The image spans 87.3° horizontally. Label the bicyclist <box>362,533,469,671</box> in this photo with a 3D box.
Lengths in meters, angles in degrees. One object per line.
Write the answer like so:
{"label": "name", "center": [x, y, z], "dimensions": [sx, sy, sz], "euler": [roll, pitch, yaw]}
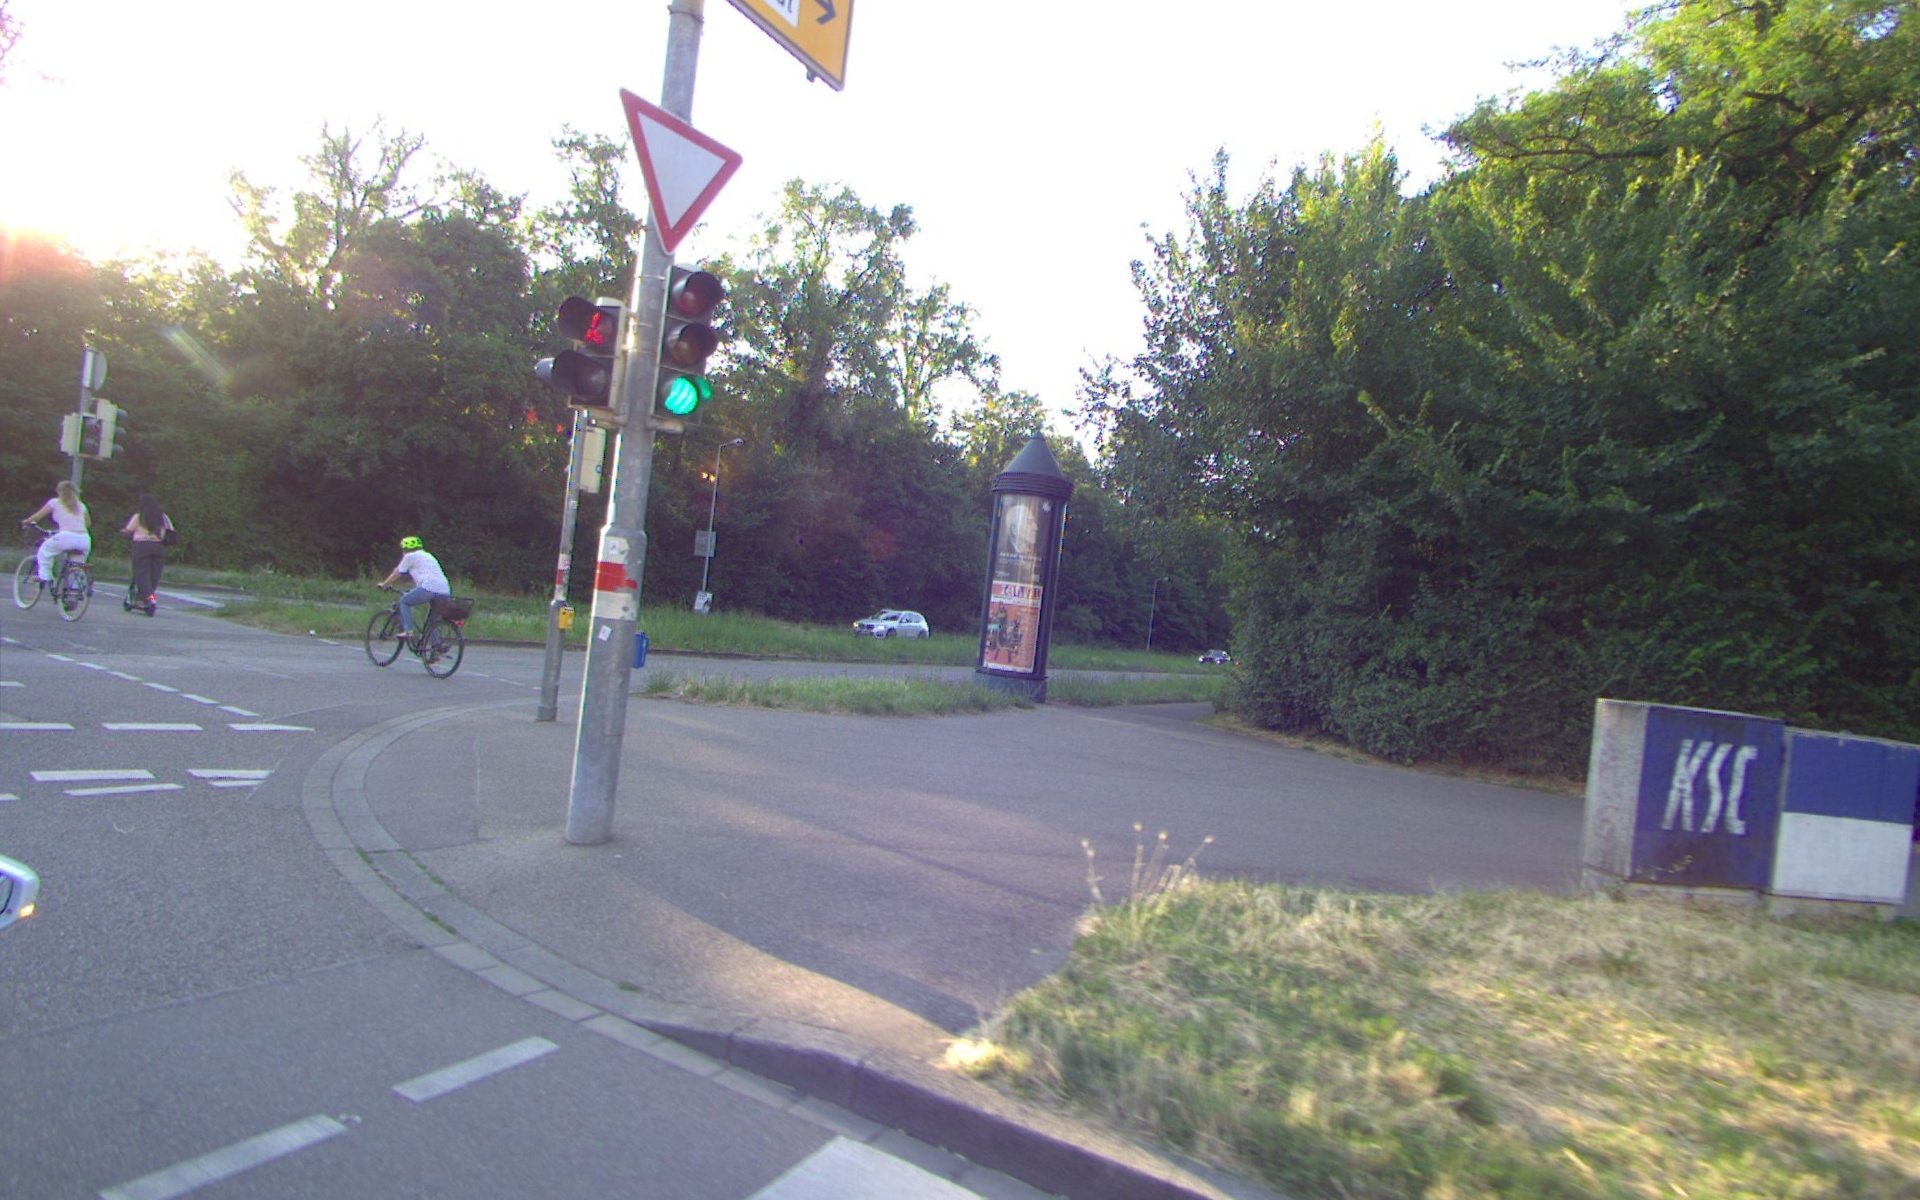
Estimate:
{"label": "bicyclist", "center": [-6.774, 0.029, 12.540], "dimensions": [0.881, 1.589, 0.556], "euler": [7, 0, 13]}

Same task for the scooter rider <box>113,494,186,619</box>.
{"label": "scooter rider", "center": [-12.156, -0.644, 15.086], "dimensions": [0.496, 1.788, 0.566], "euler": [6, 0, 29]}

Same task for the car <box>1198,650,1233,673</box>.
{"label": "car", "center": [21.708, 5.241, 85.386], "dimensions": [1.788, 1.646, 4.447], "euler": [5, -2, 28]}

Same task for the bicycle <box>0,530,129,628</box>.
{"label": "bicycle", "center": [-11.950, -0.291, 13.259], "dimensions": [1.981, 1.019, 0.773], "euler": [8, -1, 28]}

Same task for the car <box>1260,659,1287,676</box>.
{"label": "car", "center": [35.204, 7.587, 113.006], "dimensions": [1.966, 1.646, 4.647], "euler": [5, -2, 28]}

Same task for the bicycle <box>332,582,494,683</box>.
{"label": "bicycle", "center": [-6.817, 0.403, 12.546], "dimensions": [1.768, 1.027, 0.566], "euler": [7, 0, 13]}

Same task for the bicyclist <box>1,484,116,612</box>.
{"label": "bicyclist", "center": [-11.849, -0.679, 13.235], "dimensions": [0.842, 1.536, 0.761], "euler": [7, -1, 28]}

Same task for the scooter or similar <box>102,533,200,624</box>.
{"label": "scooter or similar", "center": [-12.095, -0.331, 15.030], "dimensions": [1.398, 1.203, 0.563], "euler": [6, -1, 29]}

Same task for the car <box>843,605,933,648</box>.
{"label": "car", "center": [-3.324, 1.277, 47.142], "dimensions": [1.797, 1.632, 4.634], "euler": [4, -3, 31]}
